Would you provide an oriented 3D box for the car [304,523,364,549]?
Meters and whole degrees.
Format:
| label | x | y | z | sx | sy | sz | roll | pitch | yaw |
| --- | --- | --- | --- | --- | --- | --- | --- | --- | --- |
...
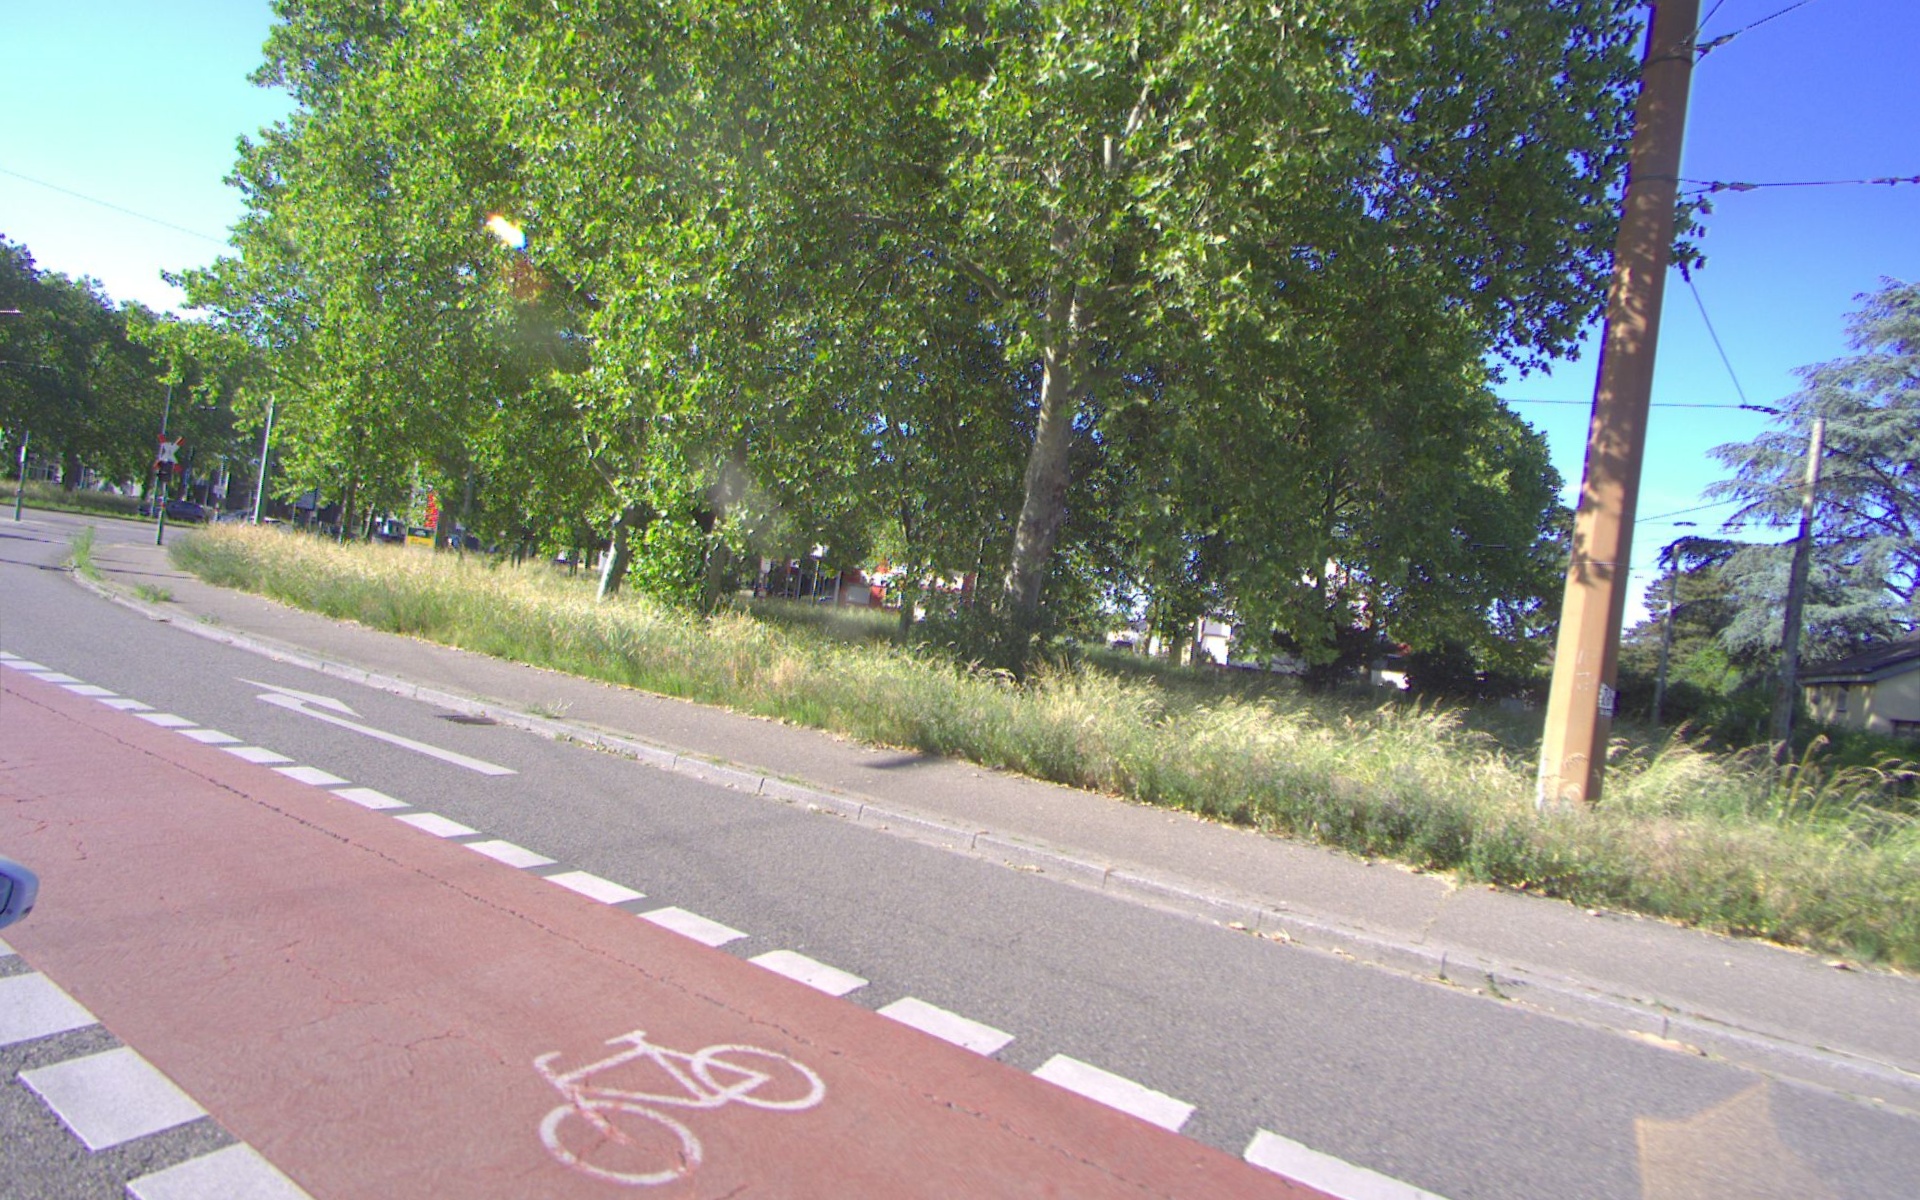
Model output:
| label | x | y | z | sx | sy | sz | roll | pitch | yaw |
| --- | --- | --- | --- | --- | --- | --- | --- | --- | --- |
| car | -53.741 | -5.453 | 86.443 | 1.661 | 1.593 | 4.528 | 8 | -1 | 10 |

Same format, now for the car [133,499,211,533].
| label | x | y | z | sx | sy | sz | roll | pitch | yaw |
| --- | --- | --- | --- | --- | --- | --- | --- | --- | --- |
| car | -55.978 | -5.927 | 71.529 | 1.845 | 1.596 | 4.007 | 8 | -3 | 11 |

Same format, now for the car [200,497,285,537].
| label | x | y | z | sx | sy | sz | roll | pitch | yaw |
| --- | --- | --- | --- | --- | --- | --- | --- | --- | --- |
| car | -52.330 | -6.022 | 73.500 | 1.962 | 2.037 | 4.908 | 8 | -1 | 9 |
